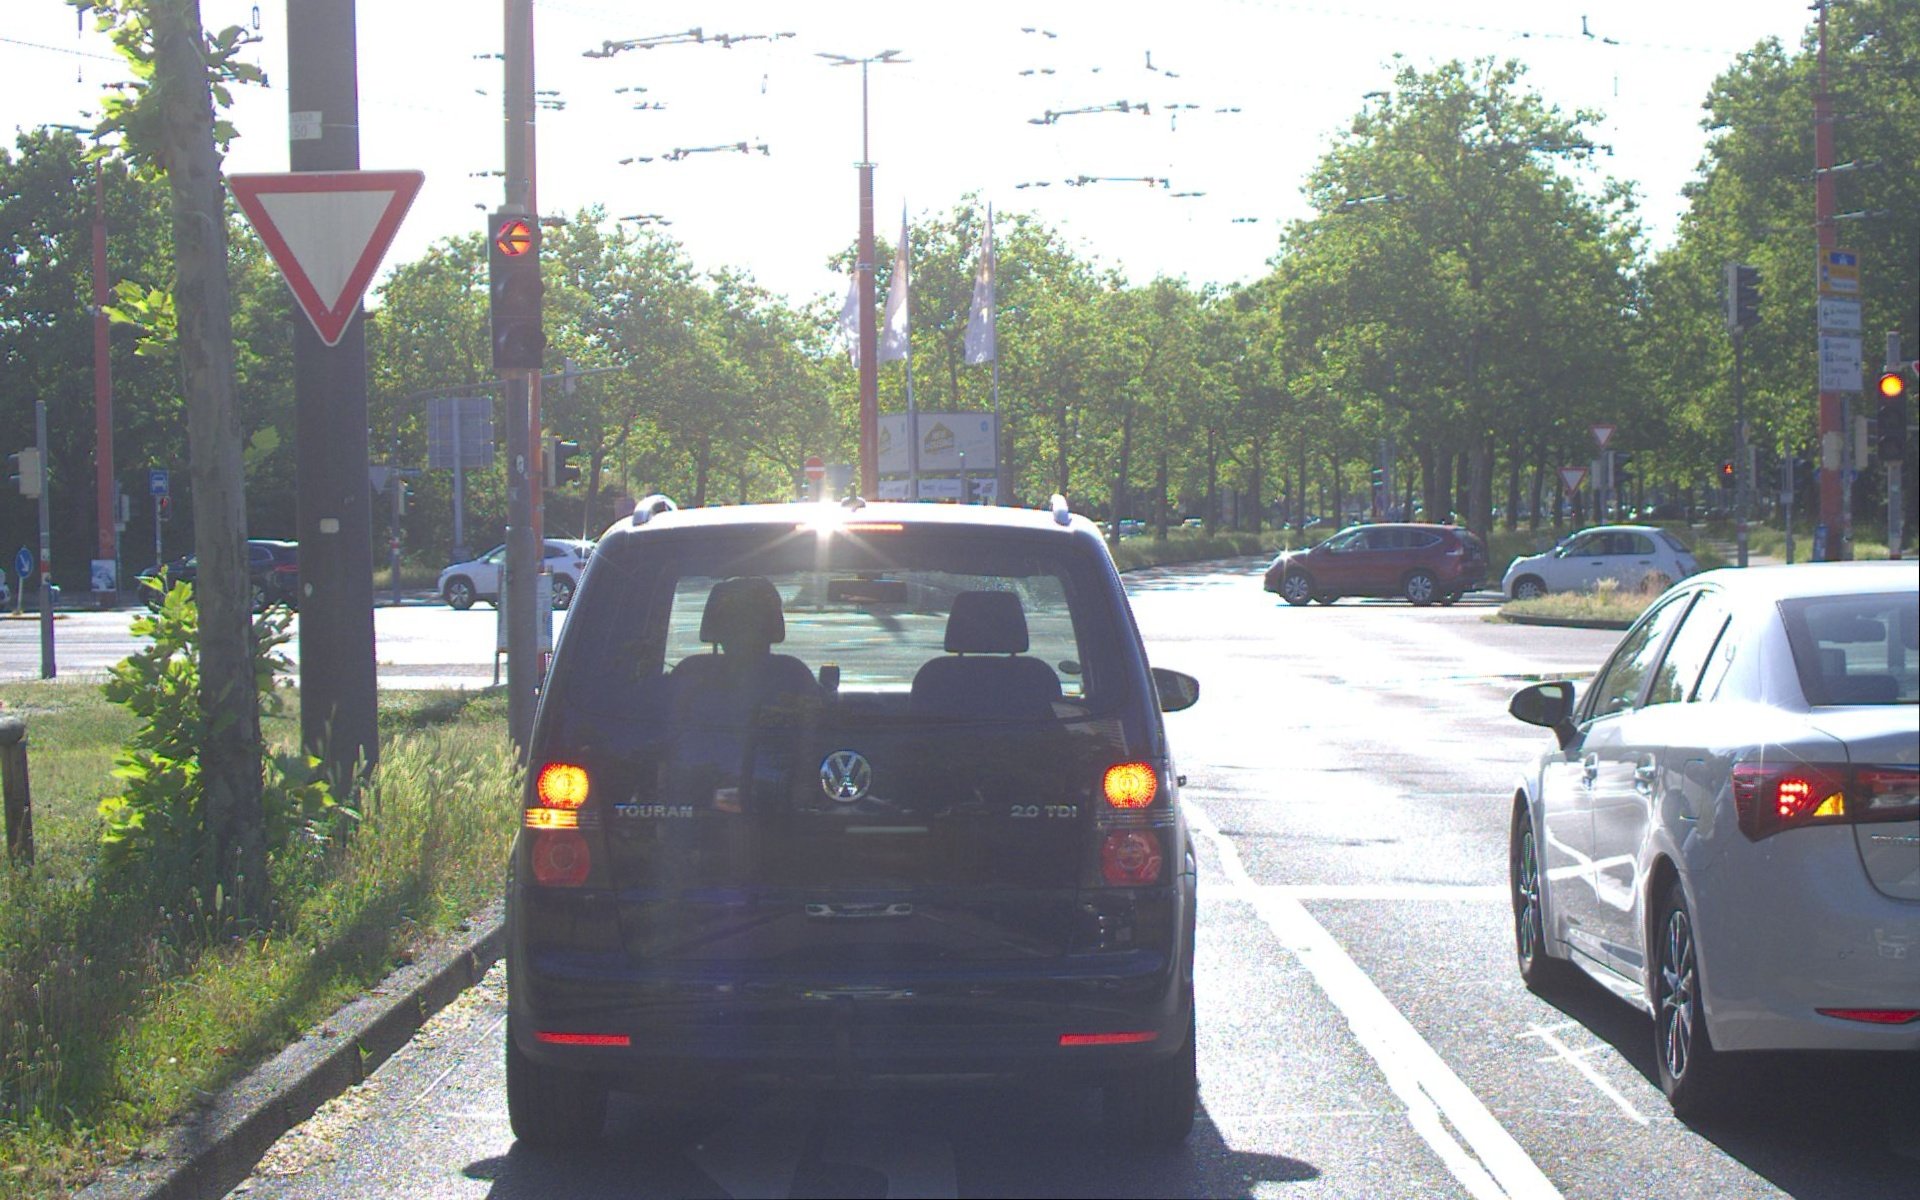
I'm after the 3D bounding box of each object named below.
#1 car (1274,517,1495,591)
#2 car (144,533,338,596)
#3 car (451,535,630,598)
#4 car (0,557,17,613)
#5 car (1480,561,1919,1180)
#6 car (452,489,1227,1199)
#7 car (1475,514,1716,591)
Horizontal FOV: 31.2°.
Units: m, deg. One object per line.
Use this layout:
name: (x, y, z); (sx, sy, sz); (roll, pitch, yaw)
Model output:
car: (8.576, -0.944, 69.582); (4.125, 1.466, 1.654); (1, 1, 27)
car: (-16.345, -0.813, 78.150); (4.124, 1.398, 1.655); (1, 1, 23)
car: (-9.625, -0.786, 78.819); (3.797, 1.398, 1.654); (1, 1, 28)
car: (-25.914, -0.394, 87.060); (3.797, 1.398, 1.654); (1, 1, 26)
car: (2.754, 0.618, 10.153); (1.799, 1.435, 4.326); (1, 1, 1)
car: (-0.256, 0.537, 9.974); (1.738, 1.597, 4.326); (1, 1, 1)
car: (11.838, -0.895, 64.089); (4.125, 1.398, 1.654); (1, 1, 27)
